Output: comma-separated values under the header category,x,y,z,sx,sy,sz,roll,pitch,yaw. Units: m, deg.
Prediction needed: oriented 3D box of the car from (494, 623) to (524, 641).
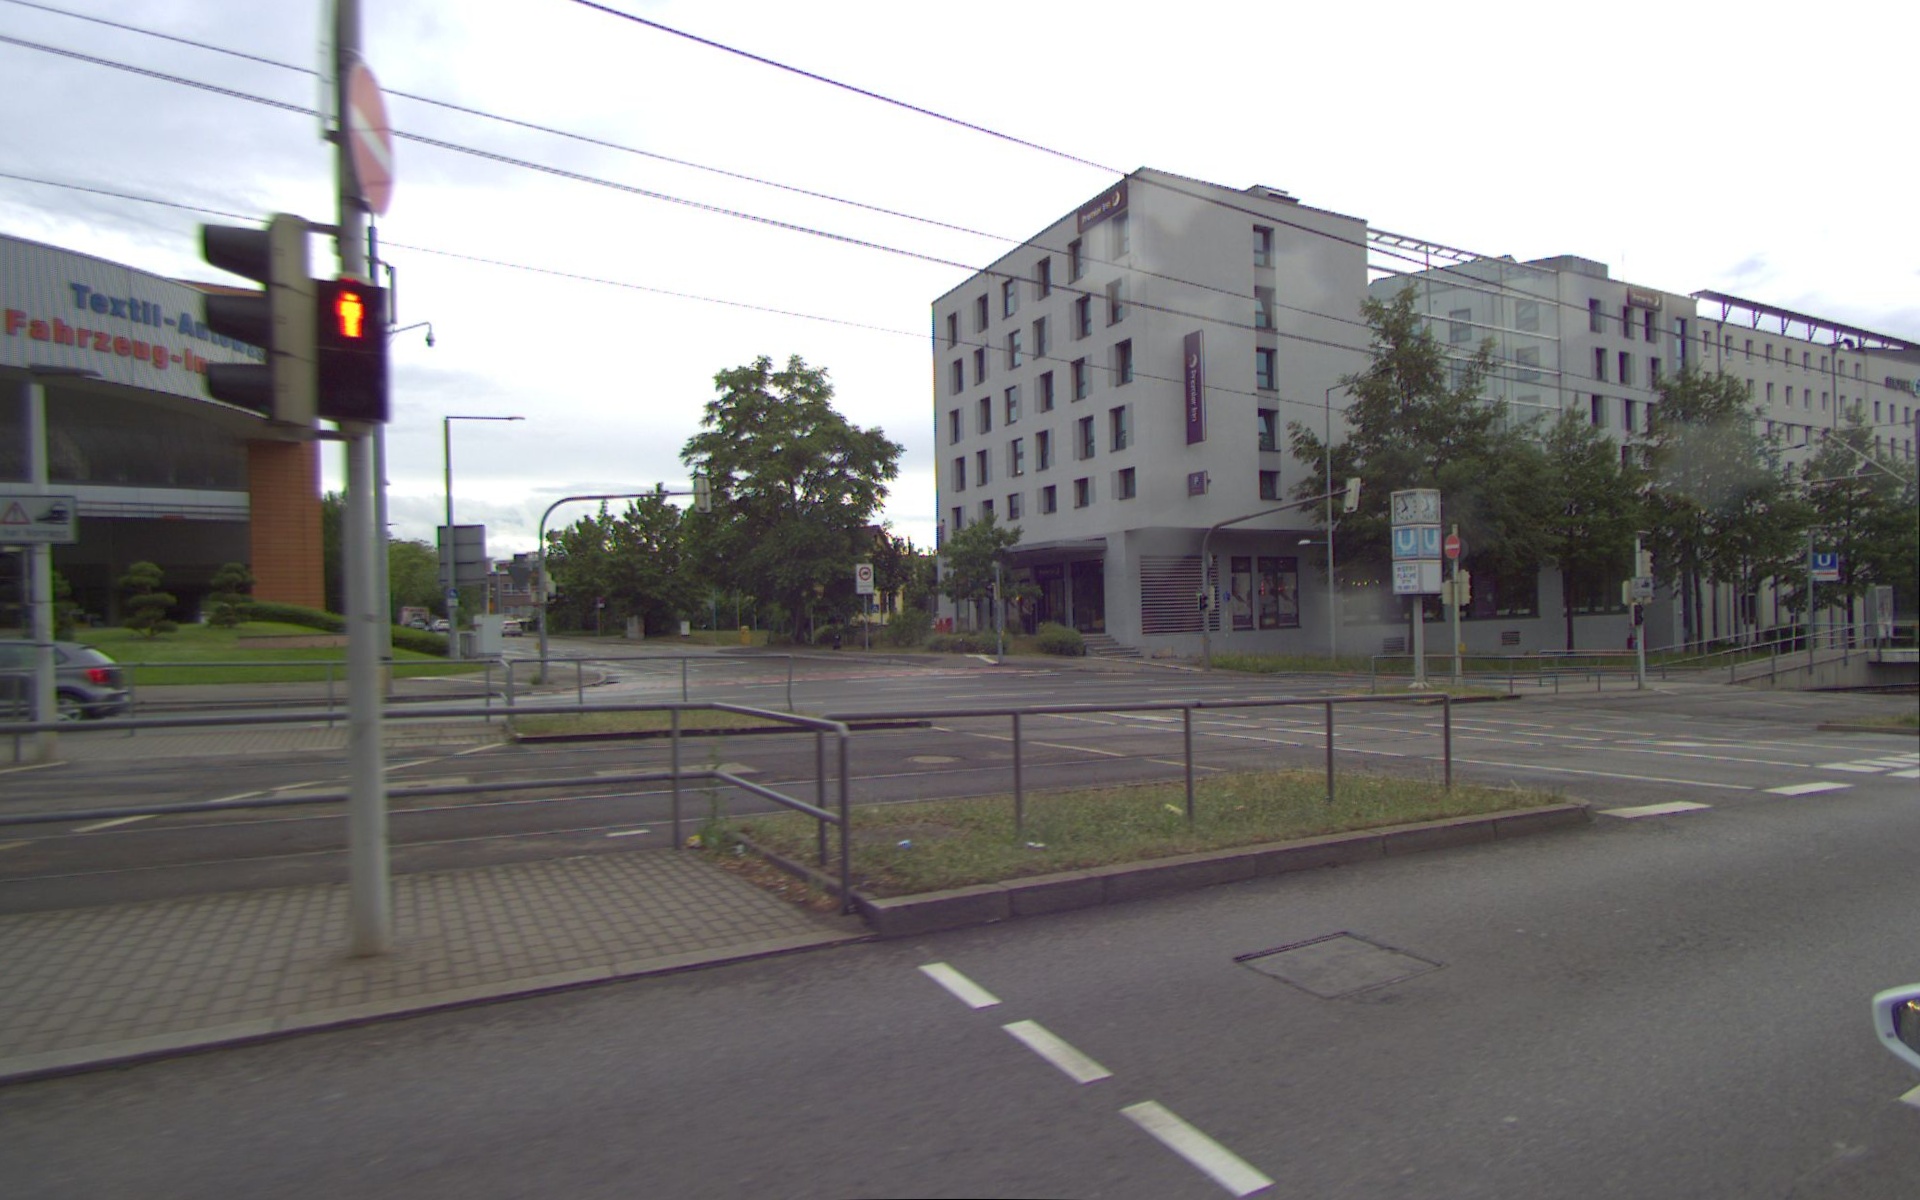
category,x,y,z,sx,sy,sz,roll,pitch,yaw
car,-42.171,2.980,93.832,1.856,1.617,3.936,1,-1,-35

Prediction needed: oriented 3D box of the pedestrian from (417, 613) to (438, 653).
category,x,y,z,sx,sy,sz,roll,pitch,yaw
pedestrian,-27.338,1.687,51.577,0.772,2.057,0.875,1,-1,-40

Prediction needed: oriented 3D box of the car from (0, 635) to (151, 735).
category,x,y,z,sx,sy,sz,roll,pitch,yaw
car,-14.900,1.274,15.312,3.735,1.442,1.720,1,-1,-31
